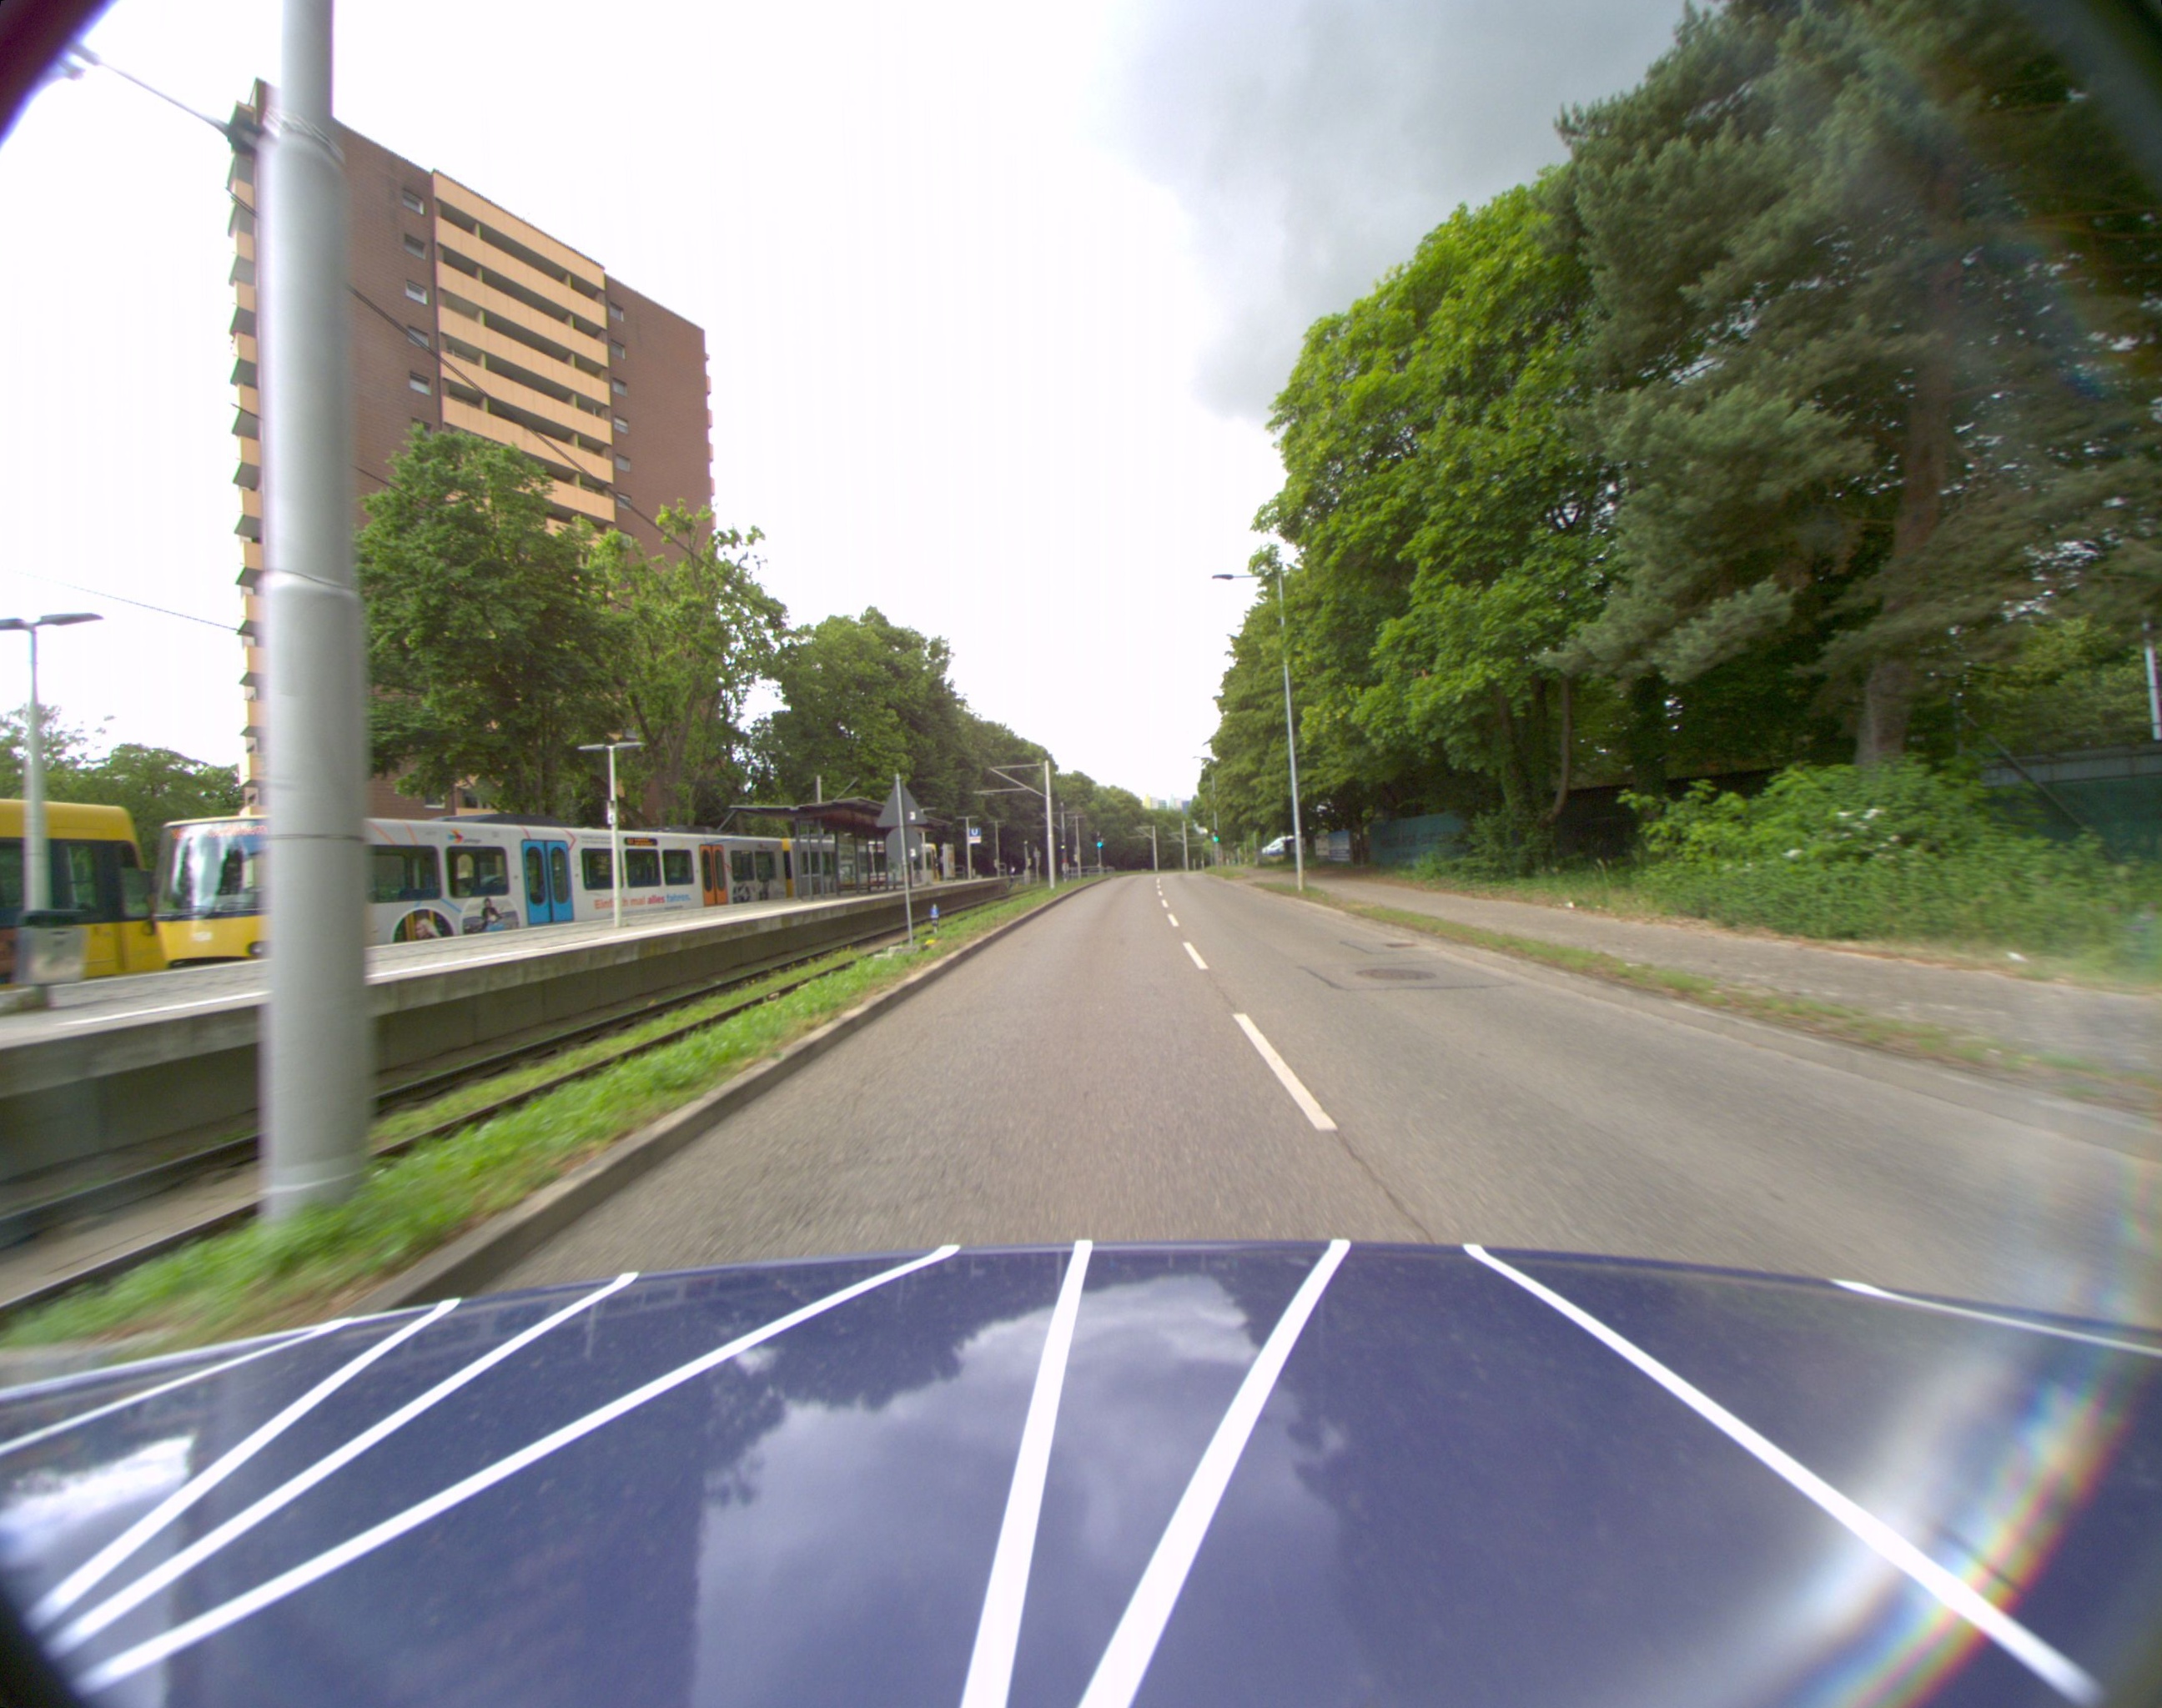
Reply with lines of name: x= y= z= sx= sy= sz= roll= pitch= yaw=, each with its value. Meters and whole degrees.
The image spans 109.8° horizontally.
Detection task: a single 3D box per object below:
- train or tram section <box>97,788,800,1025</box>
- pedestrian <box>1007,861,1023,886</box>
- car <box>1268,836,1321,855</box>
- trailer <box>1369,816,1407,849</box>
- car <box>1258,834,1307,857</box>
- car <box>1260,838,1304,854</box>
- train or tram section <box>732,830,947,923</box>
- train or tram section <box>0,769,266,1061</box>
train or tram section: x=-14.114 y=0.904 z=22.118 sx=2.819 sy=3.776 sz=18.942 roll=-4 pitch=0 yaw=6
pedestrian: x=-4.778 y=1.391 z=55.227 sx=0.986 sy=1.747 sz=0.730 roll=-4 pitch=-1 yaw=-1
car: x=21.893 y=-0.868 z=78.072 sx=5.164 sy=1.552 sz=1.888 roll=-4 pitch=-2 yaw=15
trailer: x=31.940 y=-2.166 z=79.228 sx=2.652 sy=3.056 sz=7.203 roll=-4 pitch=0 yaw=15
car: x=22.526 y=-0.957 z=85.068 sx=5.164 sy=2.093 sz=2.217 roll=-4 pitch=-2 yaw=15
car: x=21.715 y=-0.826 z=82.128 sx=4.384 sy=1.308 sz=1.565 roll=-4 pitch=-2 yaw=15
train or tram section: x=-11.754 y=0.925 z=40.926 sx=2.819 sy=3.714 sz=18.544 roll=-4 pitch=0 yaw=9
train or tram section: x=-15.348 y=0.818 z=2.889 sx=2.820 sy=3.714 sz=19.516 roll=-4 pitch=0 yaw=2
